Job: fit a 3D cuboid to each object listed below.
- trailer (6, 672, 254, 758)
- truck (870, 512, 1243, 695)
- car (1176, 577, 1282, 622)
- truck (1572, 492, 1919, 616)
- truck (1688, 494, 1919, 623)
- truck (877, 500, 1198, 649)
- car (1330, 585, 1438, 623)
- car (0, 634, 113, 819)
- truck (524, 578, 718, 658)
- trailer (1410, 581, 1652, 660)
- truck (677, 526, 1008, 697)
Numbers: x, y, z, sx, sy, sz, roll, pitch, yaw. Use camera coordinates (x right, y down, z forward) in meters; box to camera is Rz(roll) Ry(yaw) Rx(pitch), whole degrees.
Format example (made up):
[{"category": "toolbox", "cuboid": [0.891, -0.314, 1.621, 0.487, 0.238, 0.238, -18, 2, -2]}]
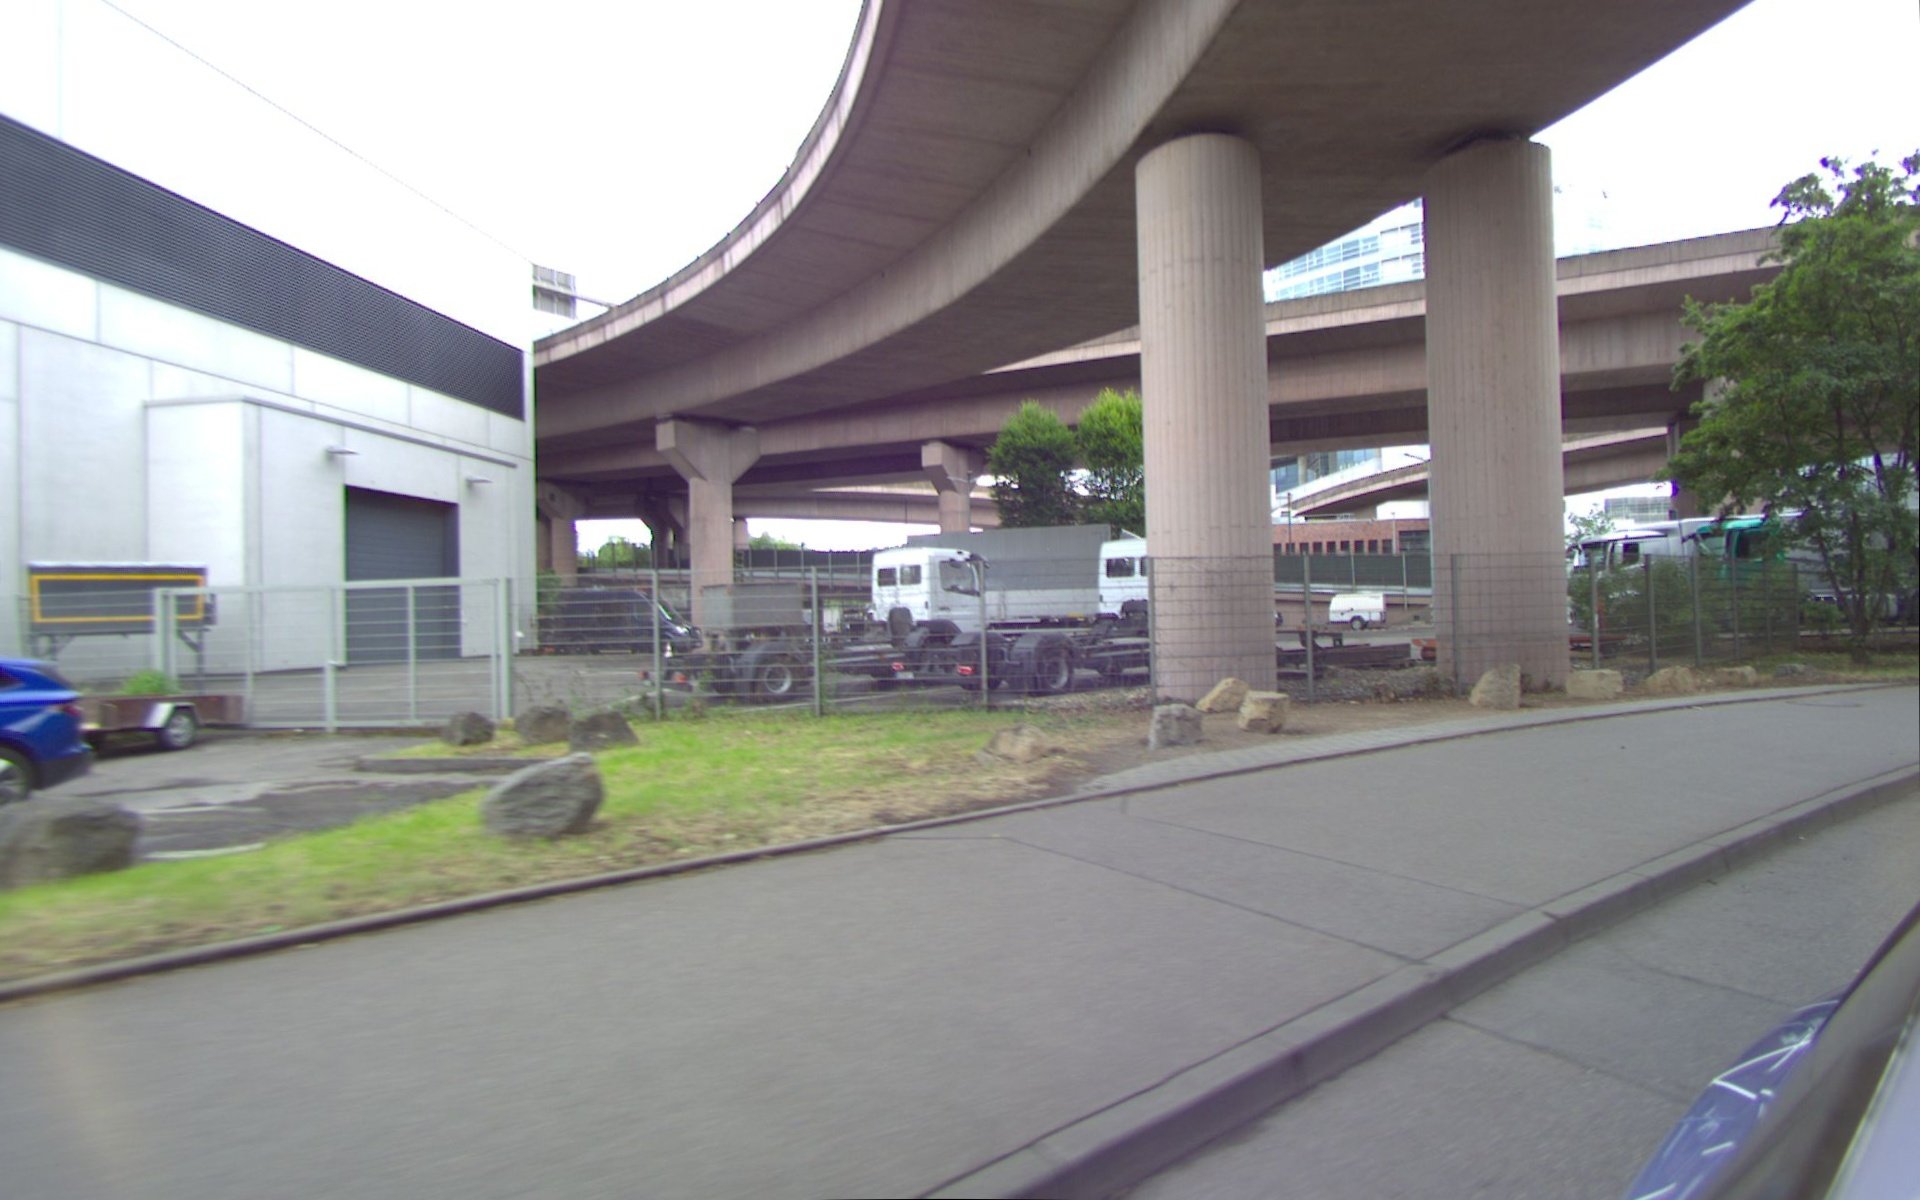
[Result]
[{"category": "trailer", "cuboid": [-11.992, 1.628, 14.807, 1.457, 0.910, 2.558, -1, 1, 4]}, {"category": "truck", "cuboid": [1.994, 0.038, 18.509, 7.106, 2.779, 2.421, -1, -1, -39]}, {"category": "car", "cuboid": [14.381, 0.034, 54.193, 5.114, 2.239, 2.314, -2, -1, 28]}, {"category": "truck", "cuboid": [25.496, -1.412, 32.199, 10.048, 3.542, 2.265, -1, 0, 10]}, {"category": "truck", "cuboid": [25.043, -1.161, 28.986, 6.312, 3.451, 2.263, -1, 0, 12]}, {"category": "truck", "cuboid": [2.547, -0.719, 33.622, 9.966, 4.422, 3.903, -1, -1, 9]}, {"category": "car", "cuboid": [21.181, 0.226, 50.597, 4.827, 1.728, 2.075, -2, -1, 28]}, {"category": "car", "cuboid": [-10.100, 1.177, 8.246, 1.756, 1.655, 4.647, -1, -1, 24]}, {"category": "truck", "cuboid": [-13.516, 0.753, 40.540, 6.821, 2.970, 3.039, -1, -1, 12]}, {"category": "trailer", "cuboid": [11.170, 0.357, 19.825, 4.290, 1.348, 1.609, -2, 1, -18]}, {"category": "truck", "cuboid": [-2.223, 0.175, 19.958, 6.001, 2.923, 2.459, -1, -1, -34]}]
